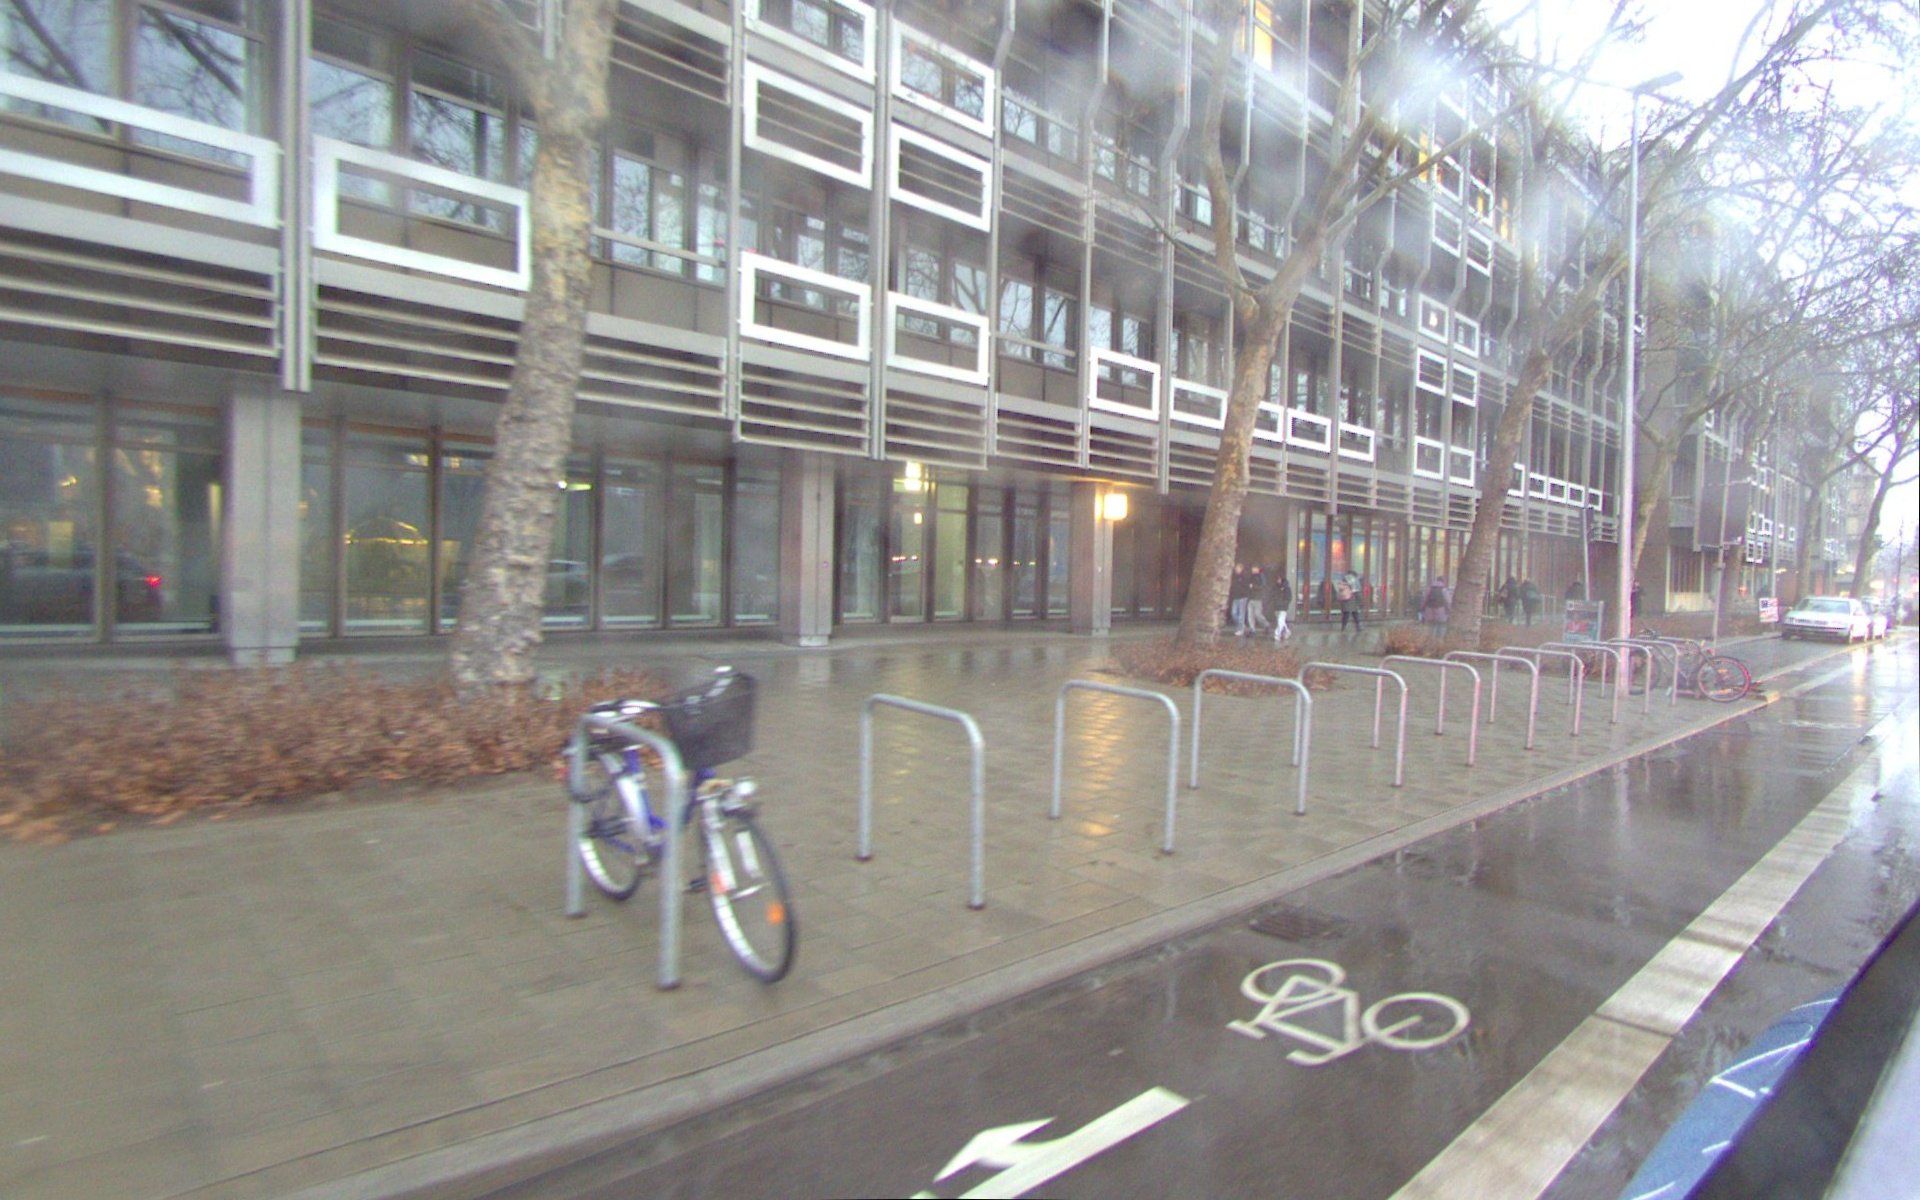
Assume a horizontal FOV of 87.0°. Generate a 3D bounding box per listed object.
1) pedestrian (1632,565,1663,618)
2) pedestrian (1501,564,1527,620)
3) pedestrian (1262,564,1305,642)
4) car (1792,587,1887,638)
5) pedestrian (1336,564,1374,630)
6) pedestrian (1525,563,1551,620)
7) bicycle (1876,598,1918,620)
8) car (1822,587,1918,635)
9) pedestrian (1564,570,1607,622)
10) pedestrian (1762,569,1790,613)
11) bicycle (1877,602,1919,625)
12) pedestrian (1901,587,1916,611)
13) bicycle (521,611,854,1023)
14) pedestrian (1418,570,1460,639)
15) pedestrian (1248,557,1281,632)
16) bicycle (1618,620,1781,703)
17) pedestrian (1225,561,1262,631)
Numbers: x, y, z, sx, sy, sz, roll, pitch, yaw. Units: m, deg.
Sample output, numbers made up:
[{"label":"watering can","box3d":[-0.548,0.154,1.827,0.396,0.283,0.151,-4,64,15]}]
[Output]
[{"label":"pedestrian","box3d":[26.737,-0.332,39.363,0.723,2.038,0.821,0,1,-43]},{"label":"pedestrian","box3d":[17.165,-0.260,31.389,0.635,1.675,0.835,2,1,27]},{"label":"pedestrian","box3d":[7.216,0.055,22.536,0.858,1.688,0.501,0,2,-41]},{"label":"car","box3d":[28.485,0.368,32.758,3.859,1.449,1.609,0,5,-39]},{"label":"pedestrian","box3d":[10.402,-0.086,26.639,0.766,1.677,0.617,0,1,-41]},{"label":"pedestrian","box3d":[17.943,-0.265,31.426,0.655,1.739,0.834,2,1,29]},{"label":"bicycle","box3d":[46.107,0.435,49.830,1.518,1.049,0.462,0,1,43]},{"label":"car","box3d":[32.144,0.400,35.721,3.929,1.504,1.998,2,2,-41]},{"label":"pedestrian","box3d":[18.875,-0.124,30.548,0.823,1.543,0.866,0,2,-40]},{"label":"pedestrian","box3d":[38.263,-0.411,47.458,1.006,2.038,0.790,0,1,-41]},{"label":"bicycle","box3d":[45.120,0.644,48.686,1.518,1.049,0.462,0,1,43]},{"label":"pedestrian","box3d":[81.427,-0.087,86.871,0.758,2.039,0.837,-1,1,-41]},{"label":"bicycle","box3d":[-1.142,0.691,3.938,0.428,1.162,1.752,0,4,-44]},{"label":"pedestrian","box3d":[11.083,0.089,23.438,0.604,1.563,0.649,0,2,-40]},{"label":"pedestrian","box3d":[6.923,-0.133,23.001,0.701,1.688,0.379,0,2,-41]},{"label":"bicycle","box3d":[10.656,0.854,14.630,0.607,0.986,1.789,0,3,-44]},{"label":"pedestrian","box3d":[6.541,-0.090,23.361,0.733,1.583,0.484,0,2,-42]}]
